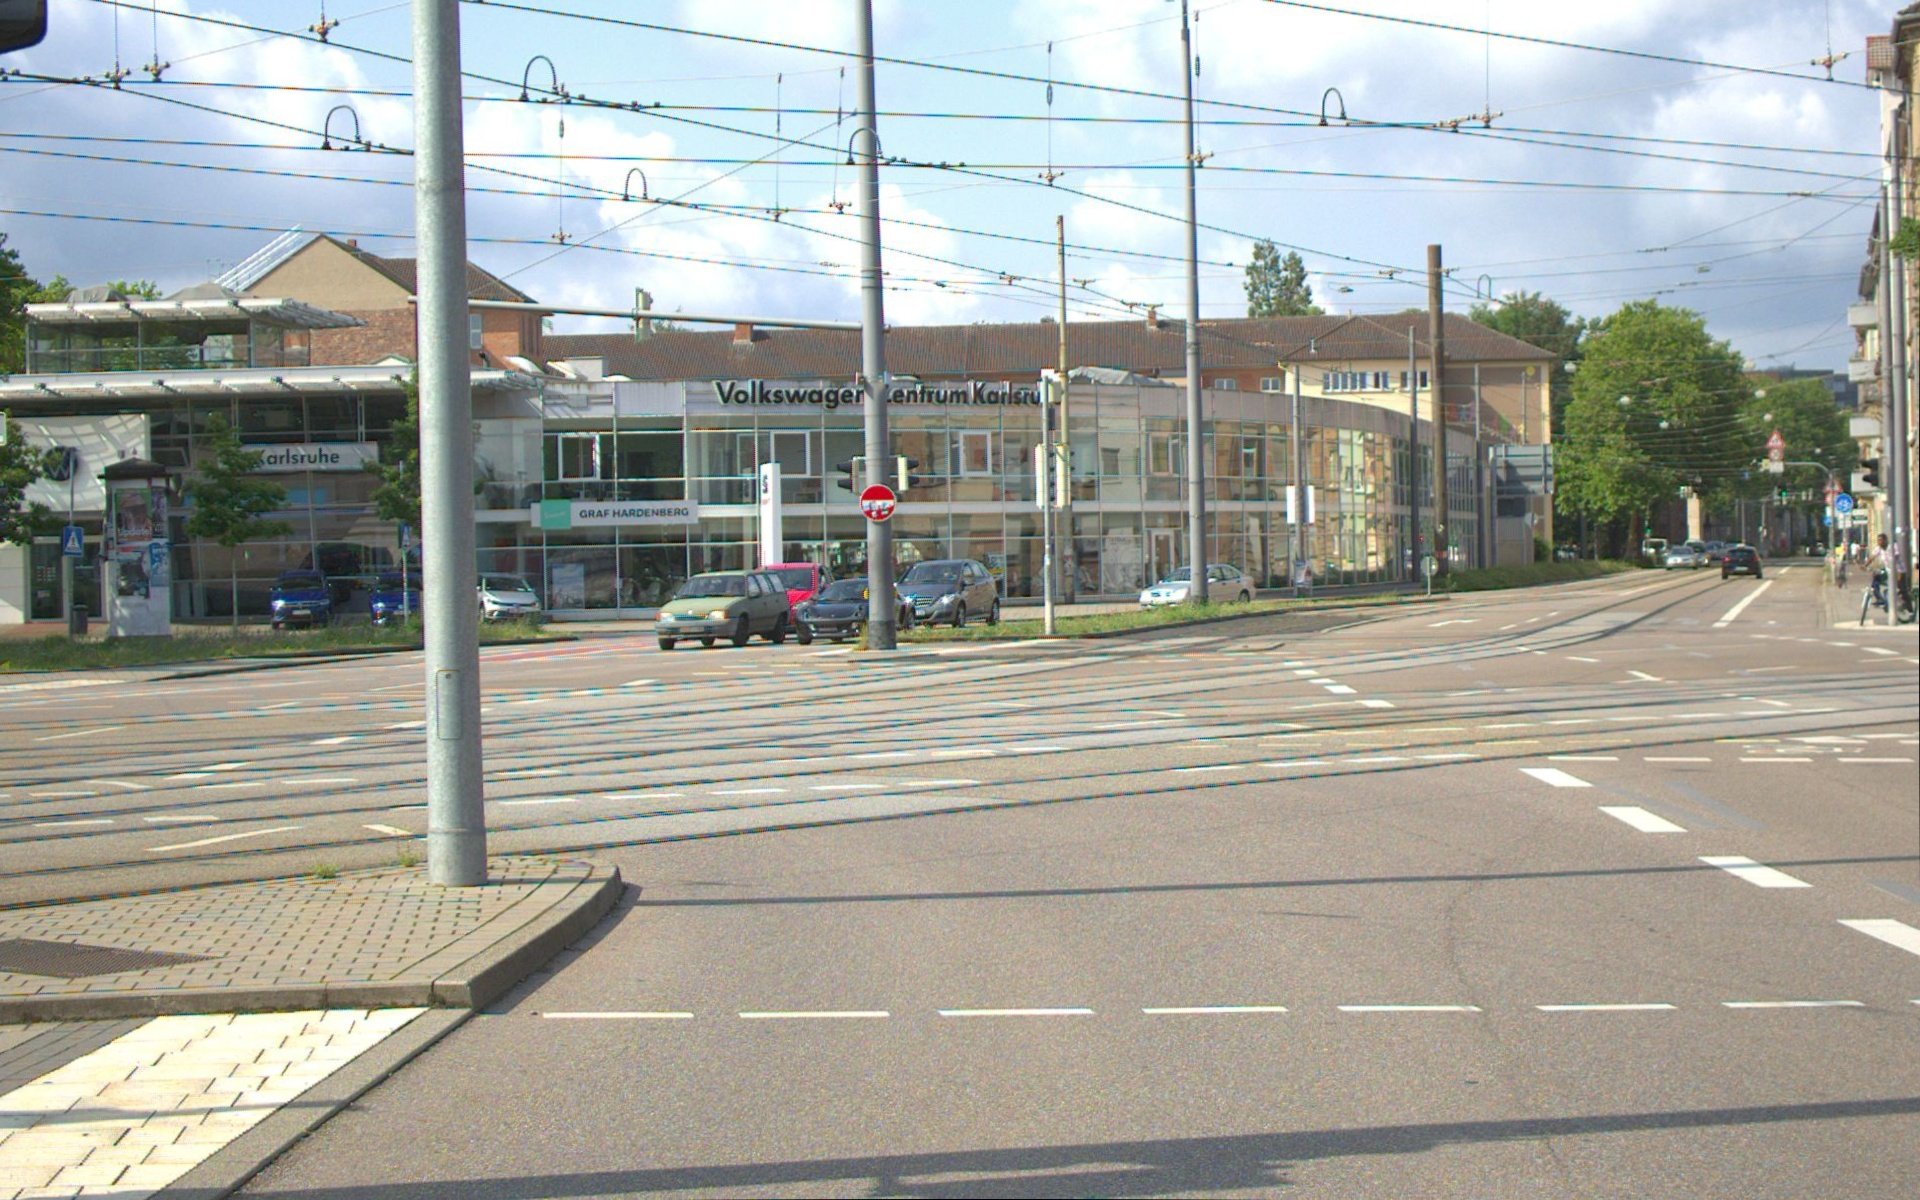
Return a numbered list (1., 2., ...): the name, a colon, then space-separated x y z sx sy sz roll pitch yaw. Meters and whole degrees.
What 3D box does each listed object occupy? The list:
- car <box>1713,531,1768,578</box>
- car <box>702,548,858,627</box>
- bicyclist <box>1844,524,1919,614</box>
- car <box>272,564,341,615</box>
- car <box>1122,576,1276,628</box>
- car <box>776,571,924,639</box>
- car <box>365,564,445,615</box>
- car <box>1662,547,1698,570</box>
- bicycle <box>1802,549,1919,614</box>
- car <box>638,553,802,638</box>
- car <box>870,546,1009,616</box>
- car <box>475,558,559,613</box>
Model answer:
1. car: 34.596 -2.030 152.267 1.995 2.007 3.997 -1 1 18
2. car: -3.632 -0.280 69.973 1.995 1.514 3.997 1 1 15
3. bicyclist: 17.376 -0.595 64.741 1.193 1.652 0.786 -1 2 -8
4. car: -19.153 -0.320 100.820 1.919 1.440 4.001 -1 1 -10
5. car: 7.037 0.054 100.851 4.468 1.459 1.781 0 1 -39
6. car: -2.006 0.072 63.799 1.622 1.157 3.997 1 1 15
7. car: -16.220 -0.328 100.601 1.919 1.440 4.001 -1 1 -4
8. car: 43.349 -2.529 207.067 1.994 1.327 3.998 -1 1 10
9. bicycle: 17.333 -0.353 64.796 2.671 1.166 0.901 -1 2 -8
10. car: -4.447 -0.104 64.309 1.822 1.508 3.997 1 1 15
11. car: -0.448 -0.453 78.979 1.995 1.546 3.997 -1 1 18
12. car: -13.168 -0.450 102.380 1.919 1.546 4.000 -1 1 1
